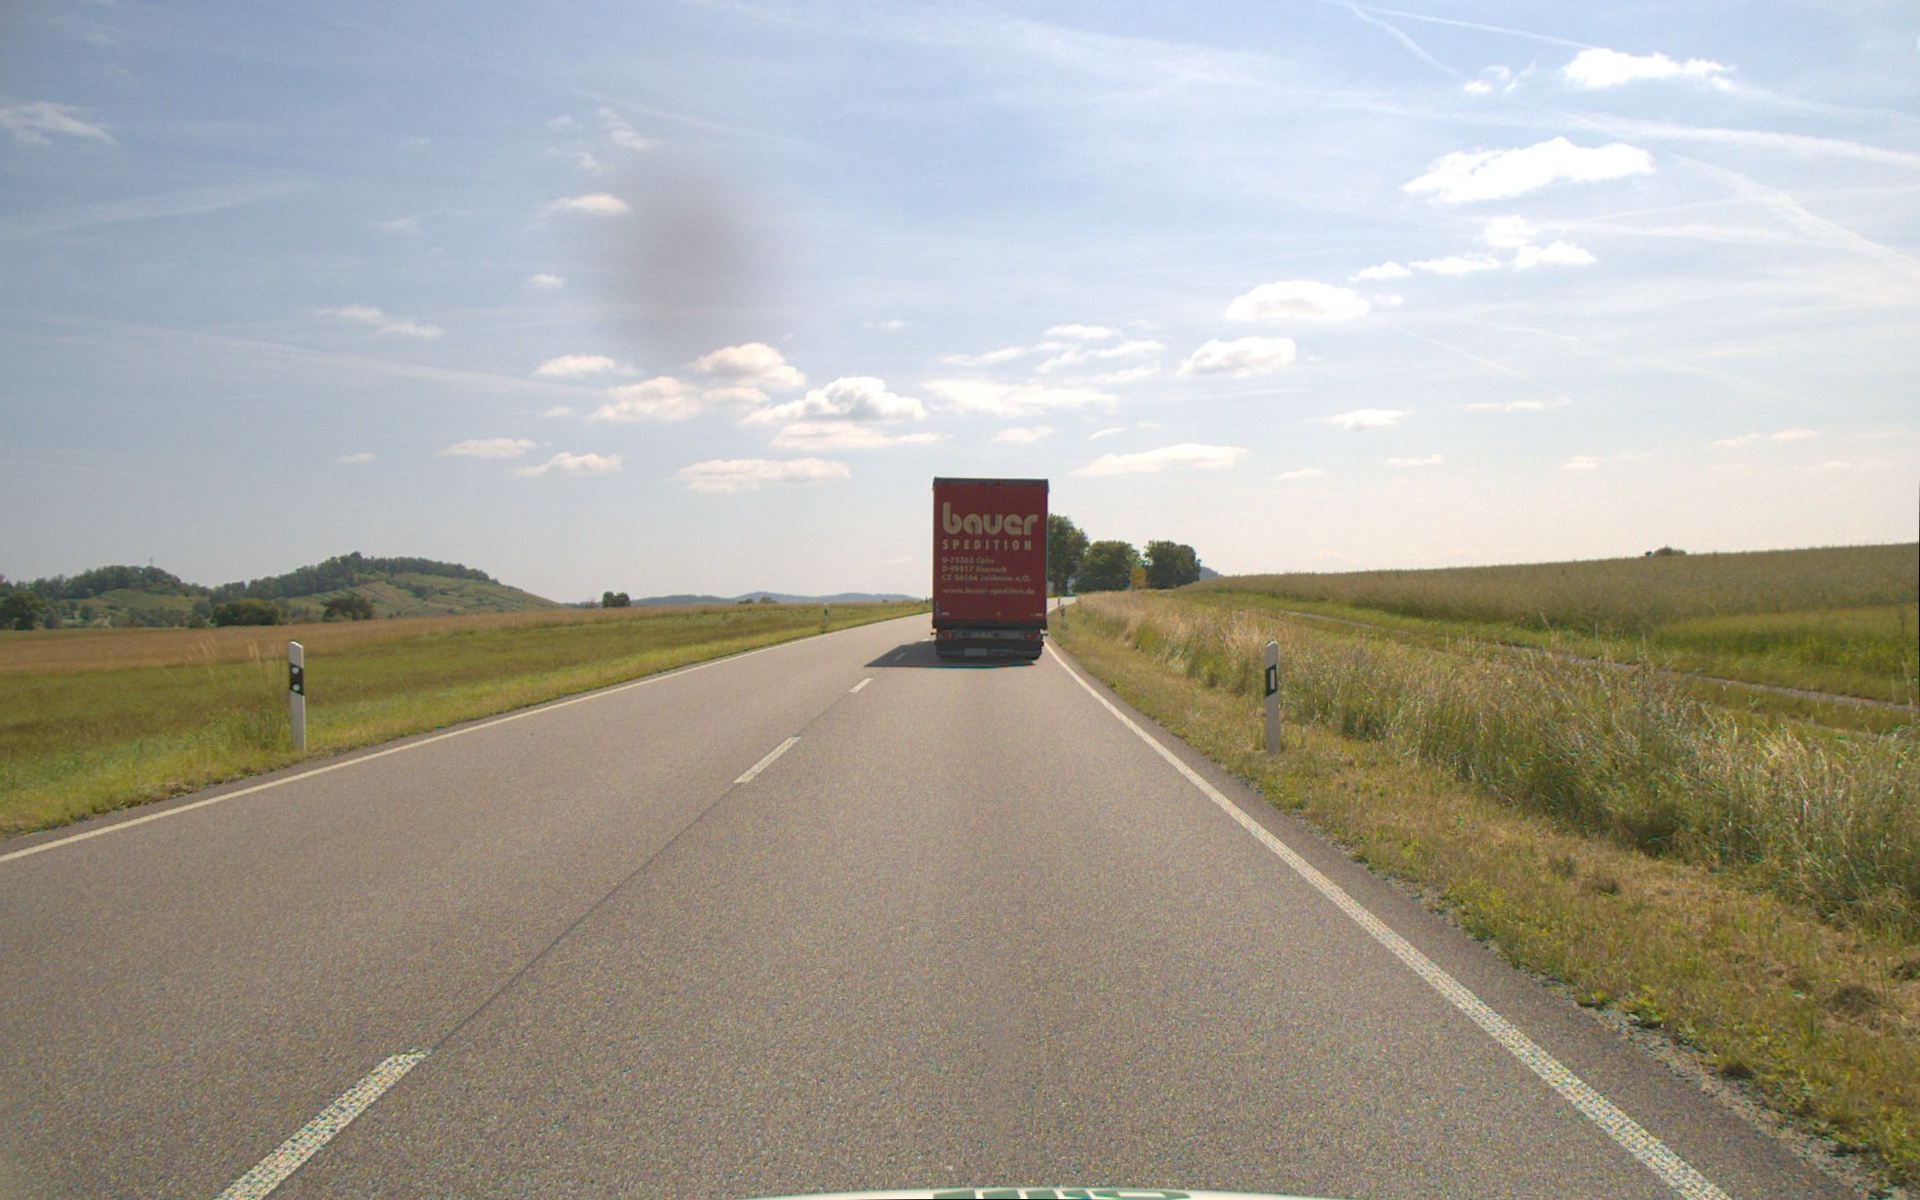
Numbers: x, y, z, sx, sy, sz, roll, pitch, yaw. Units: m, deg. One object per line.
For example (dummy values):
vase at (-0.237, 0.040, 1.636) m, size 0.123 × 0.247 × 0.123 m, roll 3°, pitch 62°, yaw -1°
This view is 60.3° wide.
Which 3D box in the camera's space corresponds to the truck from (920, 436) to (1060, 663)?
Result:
truck at (0.797, -1.107, 39.994) m, size 2.913 × 4.795 × 9.368 m, roll 1°, pitch 0°, yaw 2°
